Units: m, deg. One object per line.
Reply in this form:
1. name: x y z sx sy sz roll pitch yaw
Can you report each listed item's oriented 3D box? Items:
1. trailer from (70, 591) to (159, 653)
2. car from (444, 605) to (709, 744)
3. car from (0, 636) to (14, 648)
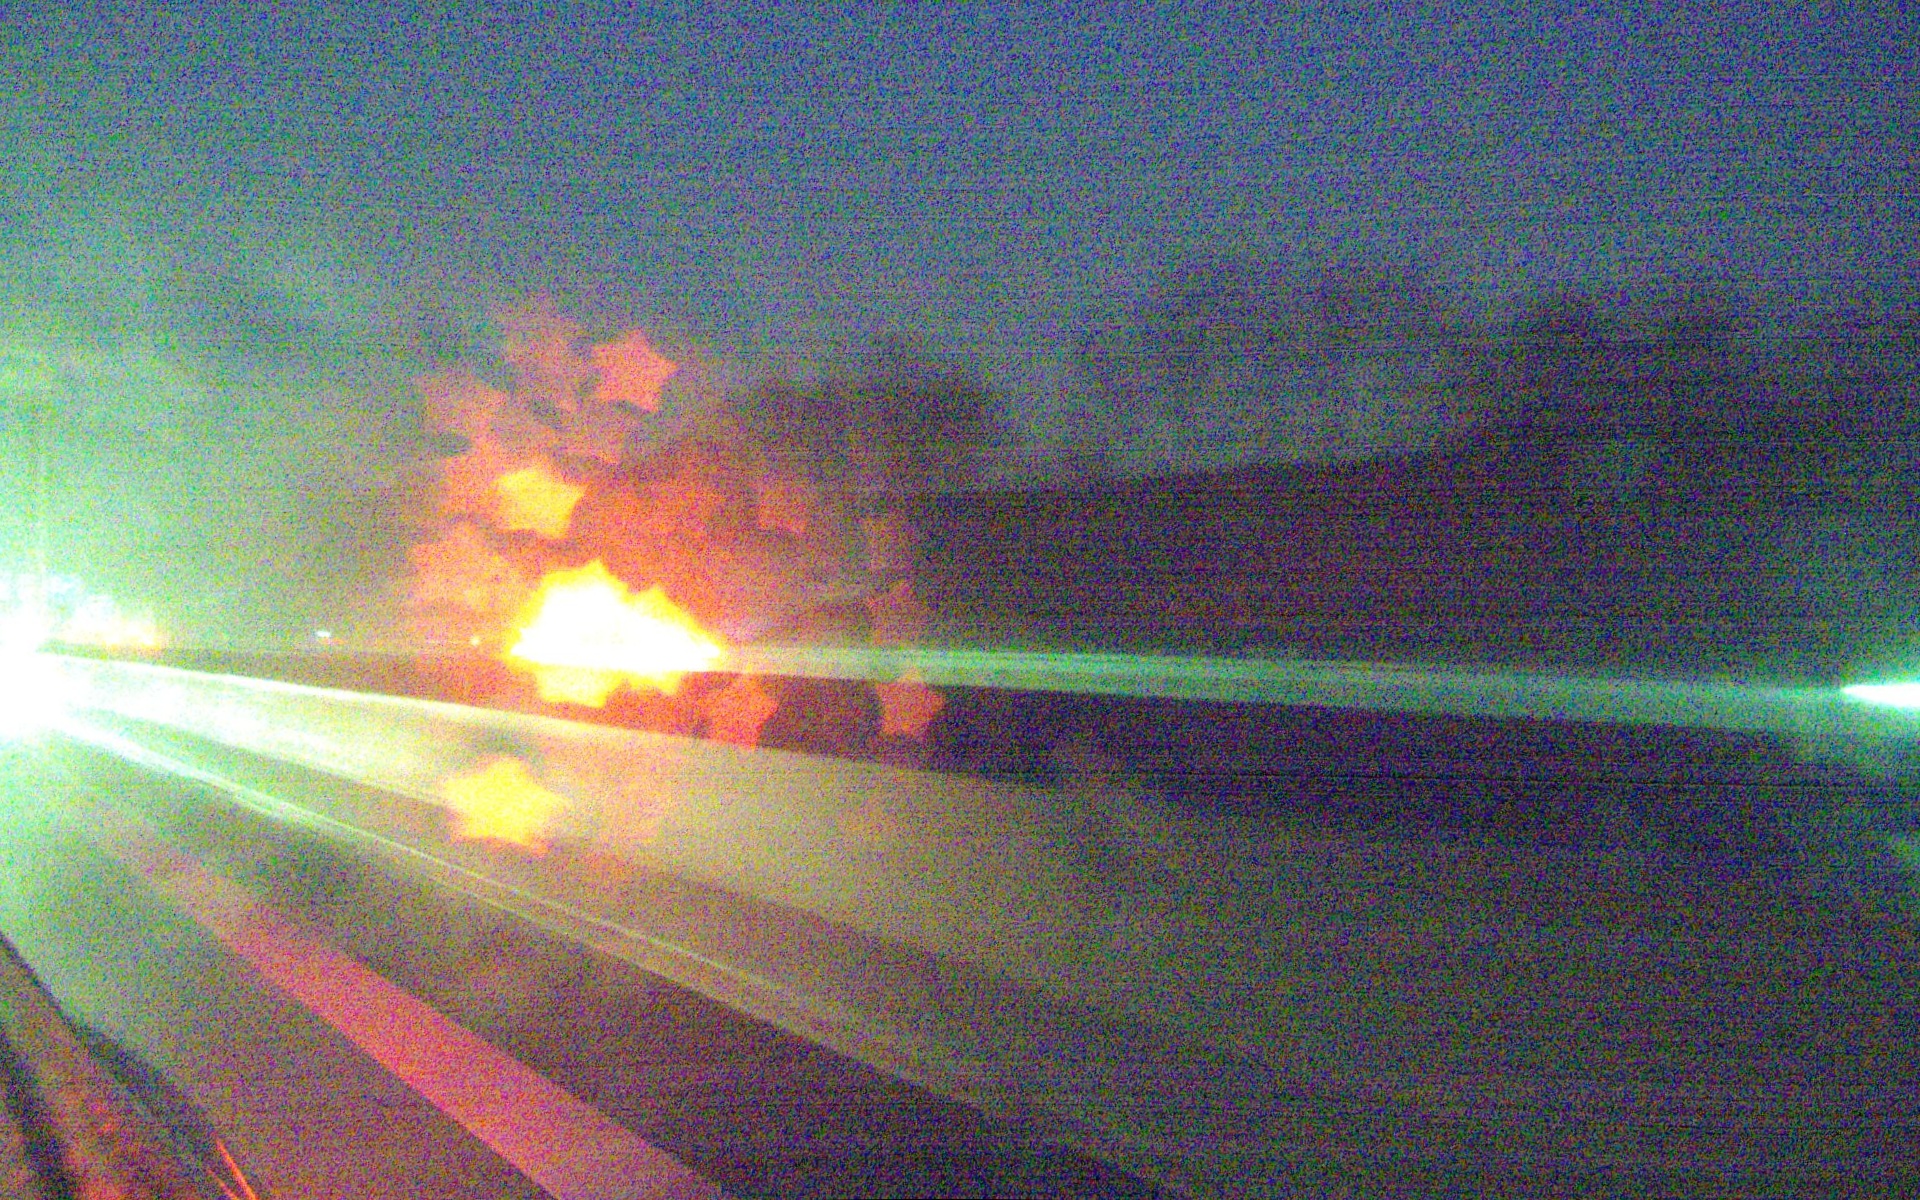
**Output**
1. trailer: -66.880 1.744 79.836 14.855 4.299 2.943 -2 2 41
2. car: -5.835 1.013 15.223 3.996 1.752 1.974 -1 1 40
3. car: -137.697 6.094 145.581 4.244 1.728 1.972 -2 -3 41
